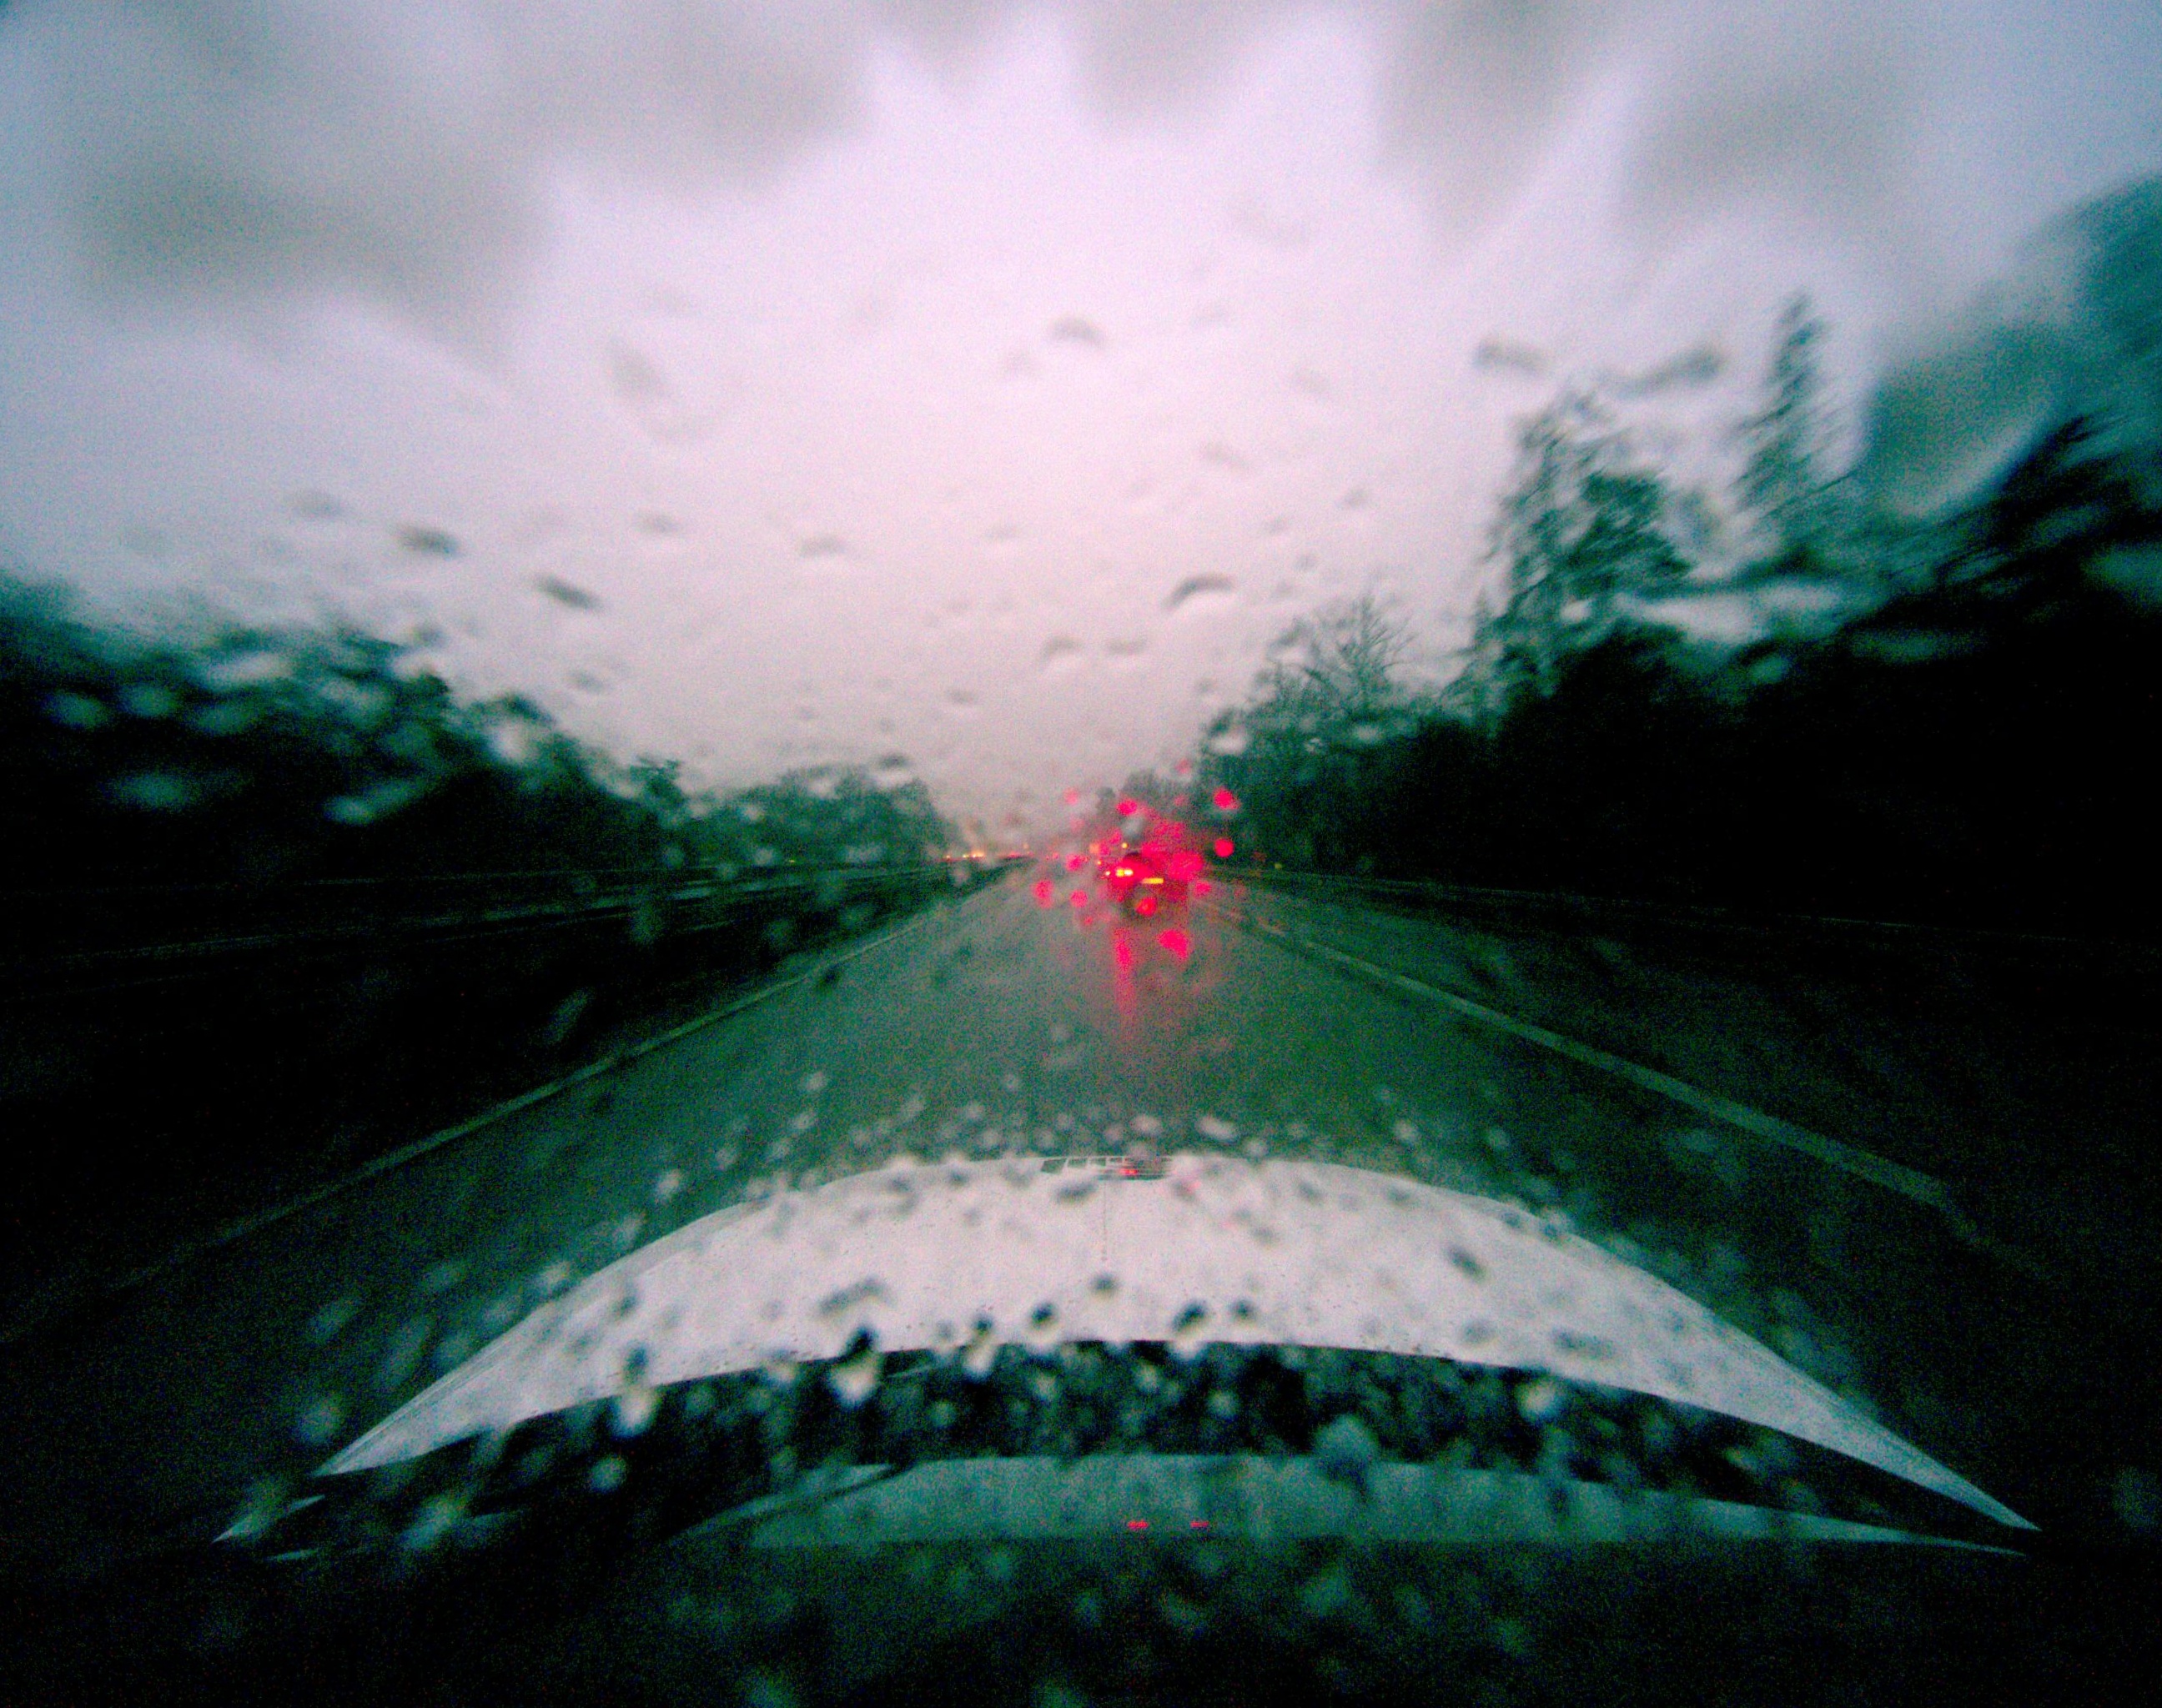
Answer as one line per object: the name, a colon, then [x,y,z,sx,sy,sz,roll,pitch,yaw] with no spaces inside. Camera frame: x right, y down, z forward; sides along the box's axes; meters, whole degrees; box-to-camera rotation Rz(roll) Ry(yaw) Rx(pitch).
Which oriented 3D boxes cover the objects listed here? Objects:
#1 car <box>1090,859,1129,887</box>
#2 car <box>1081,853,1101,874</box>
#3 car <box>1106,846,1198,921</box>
car: [1.527,1.019,44.341,1.986,1.420,4.001,1,0,1]
car: [1.029,0.911,81.826,1.986,2.014,4.000,0,0,1]
car: [1.683,0.690,20.640,1.986,1.715,3.829,0,0,0]
